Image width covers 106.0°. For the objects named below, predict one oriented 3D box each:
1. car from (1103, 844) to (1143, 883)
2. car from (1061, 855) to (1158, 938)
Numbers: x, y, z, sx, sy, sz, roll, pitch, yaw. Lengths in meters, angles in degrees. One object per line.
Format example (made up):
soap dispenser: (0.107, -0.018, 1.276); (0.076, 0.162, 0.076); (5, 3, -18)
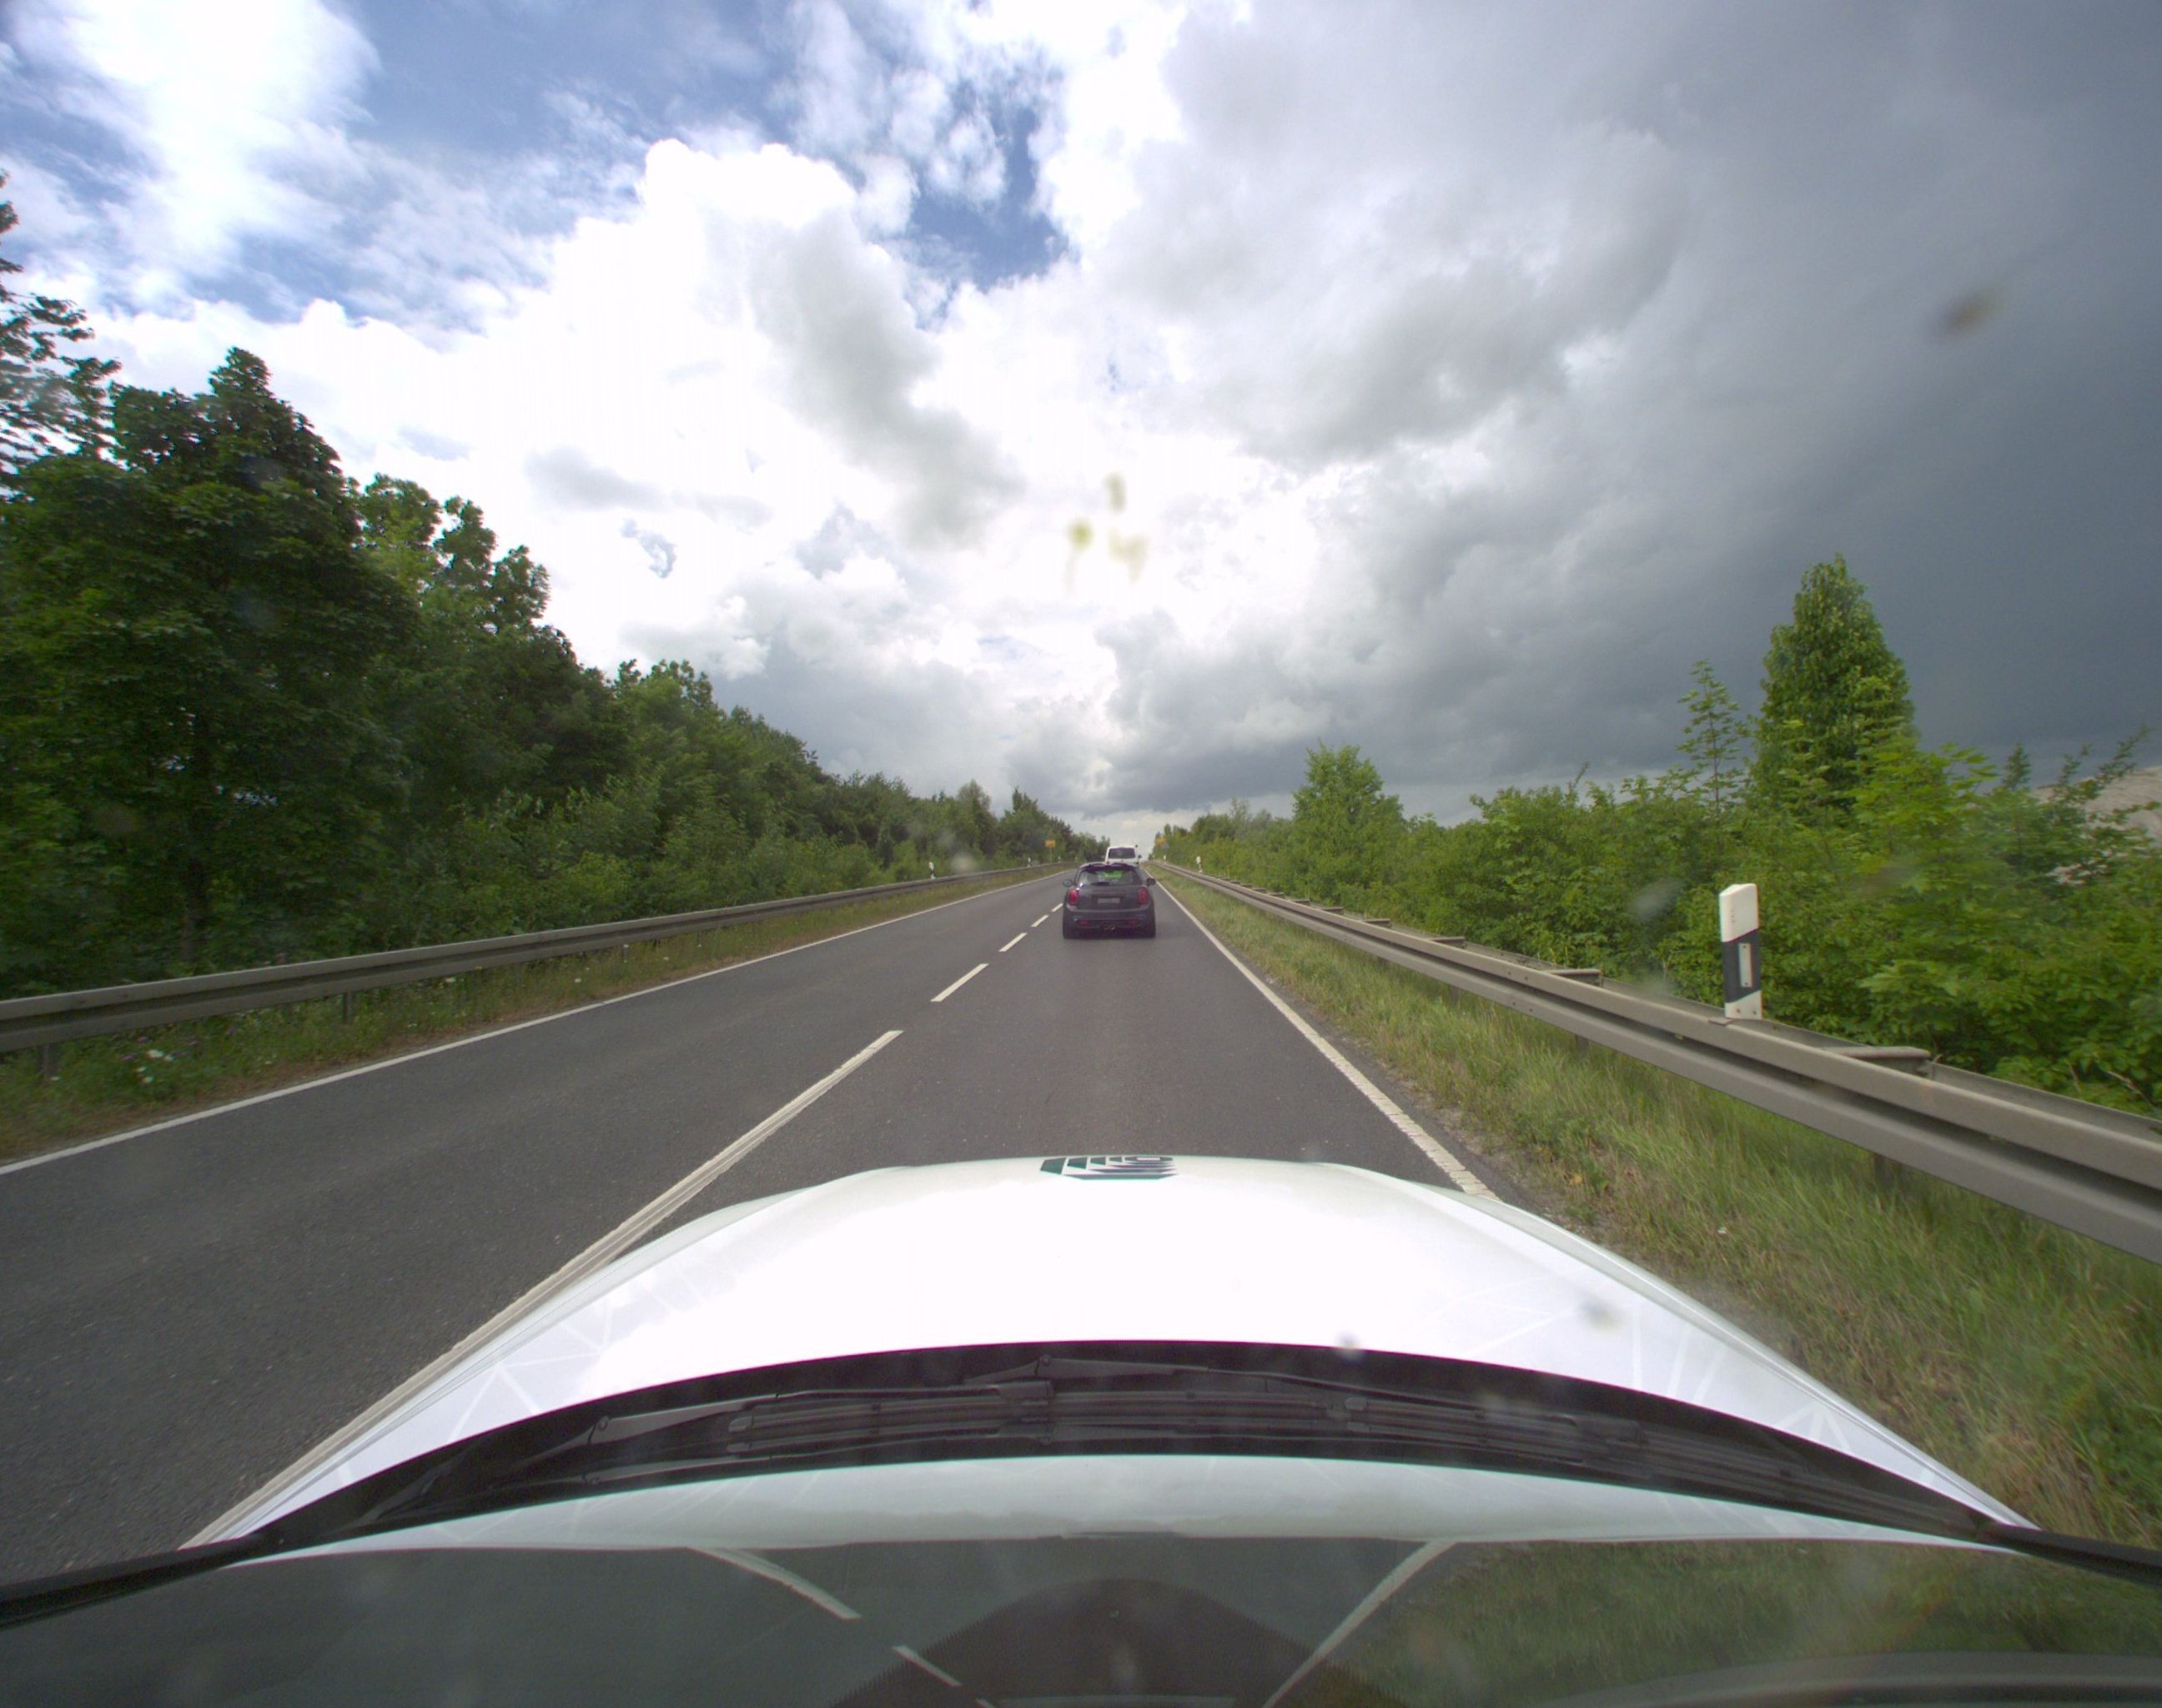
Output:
car: (2.348, 0.479, 44.316); (2.013, 2.013, 4.005); (-1, 0, 5)
car: (0.525, 0.777, 16.704); (1.726, 1.456, 4.000); (-1, 0, 0)
